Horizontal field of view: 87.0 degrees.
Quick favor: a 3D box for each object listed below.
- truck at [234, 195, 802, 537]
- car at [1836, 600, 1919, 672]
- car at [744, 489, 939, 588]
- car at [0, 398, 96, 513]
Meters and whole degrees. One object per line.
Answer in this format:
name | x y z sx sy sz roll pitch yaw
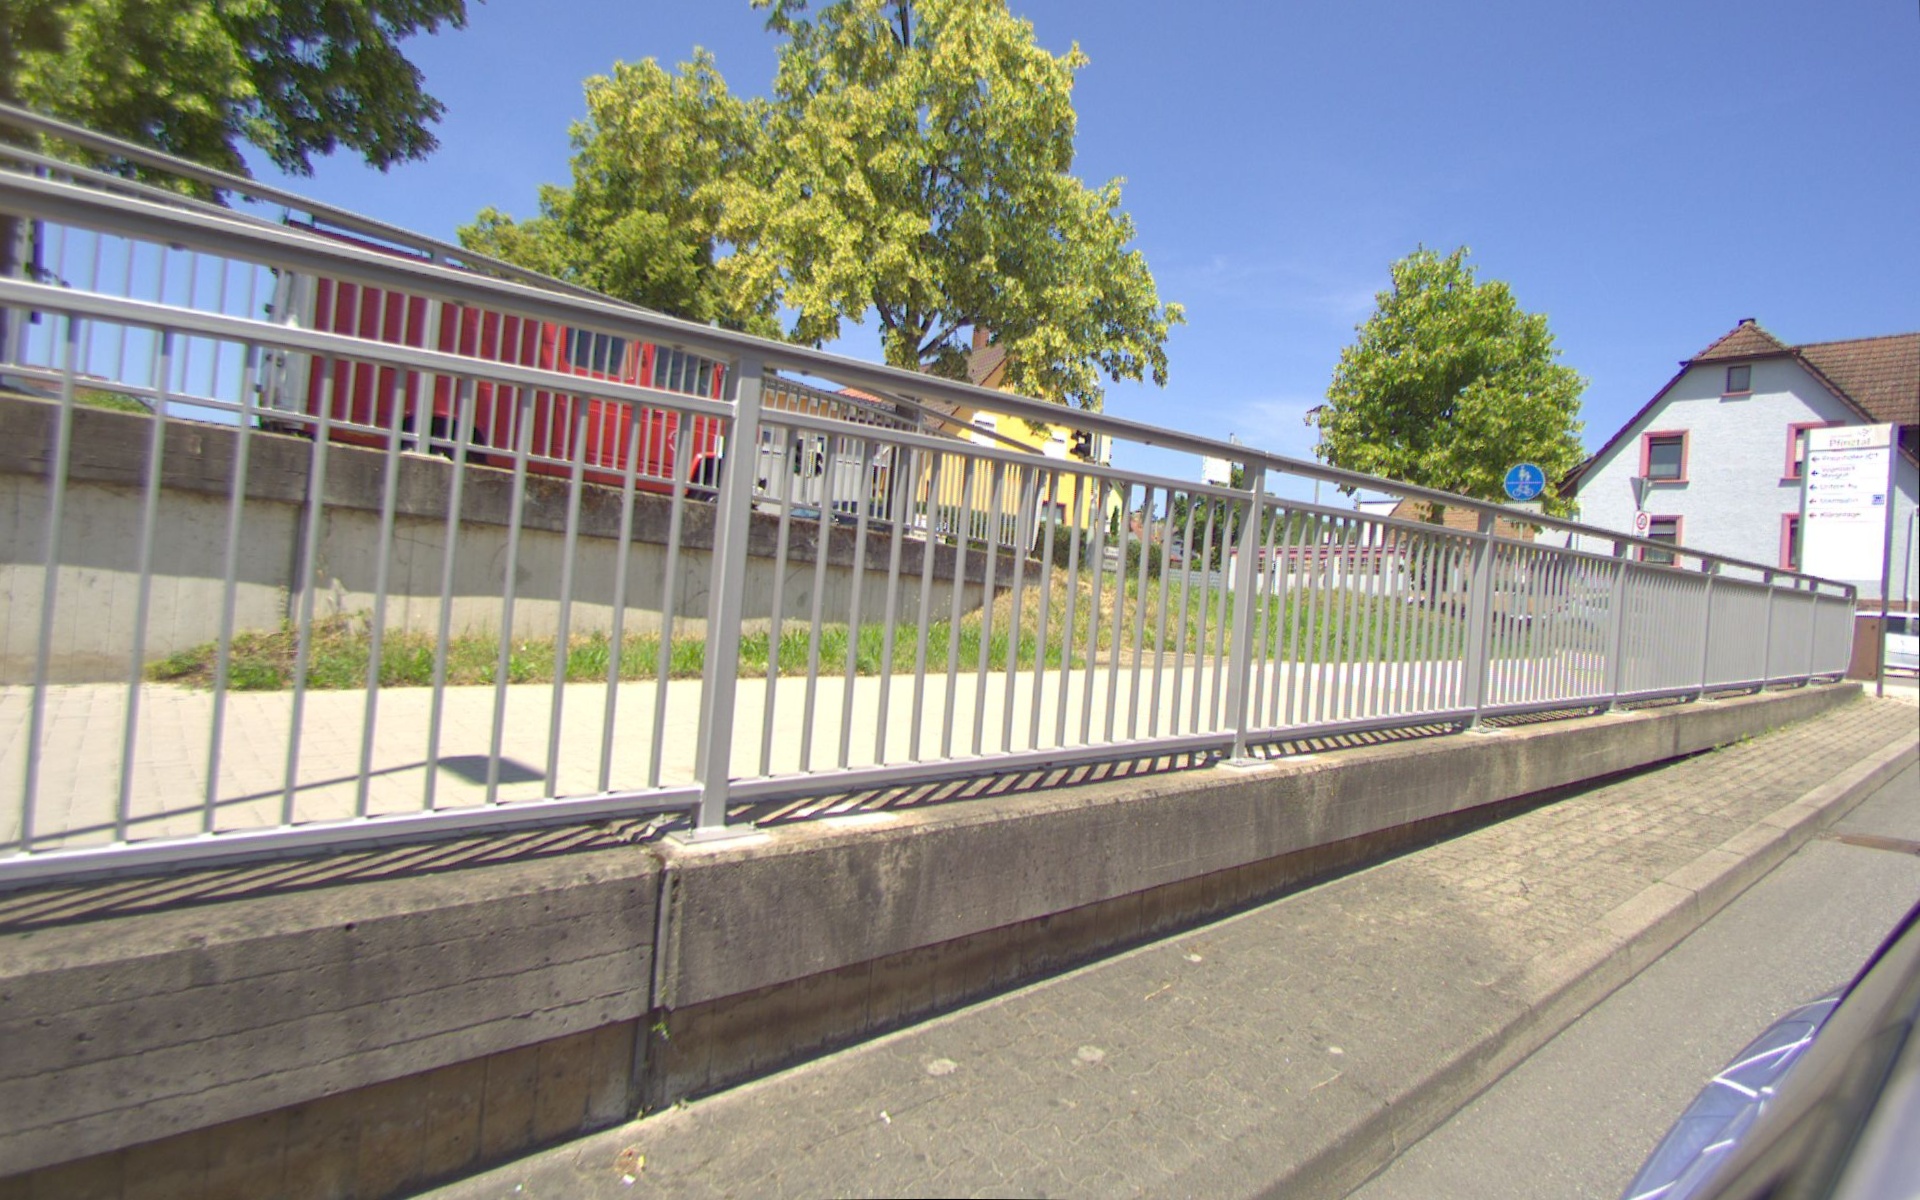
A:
truck | -4.559 -2.126 11.020 5.166 2.364 2.136 4 -1 -41
car | 22.110 0.893 22.619 3.672 1.497 1.747 5 2 44
car | -2.352 -1.211 21.140 1.855 1.609 4.108 3 -1 32
car | -14.530 -2.182 15.557 1.726 1.496 3.948 4 1 -39
